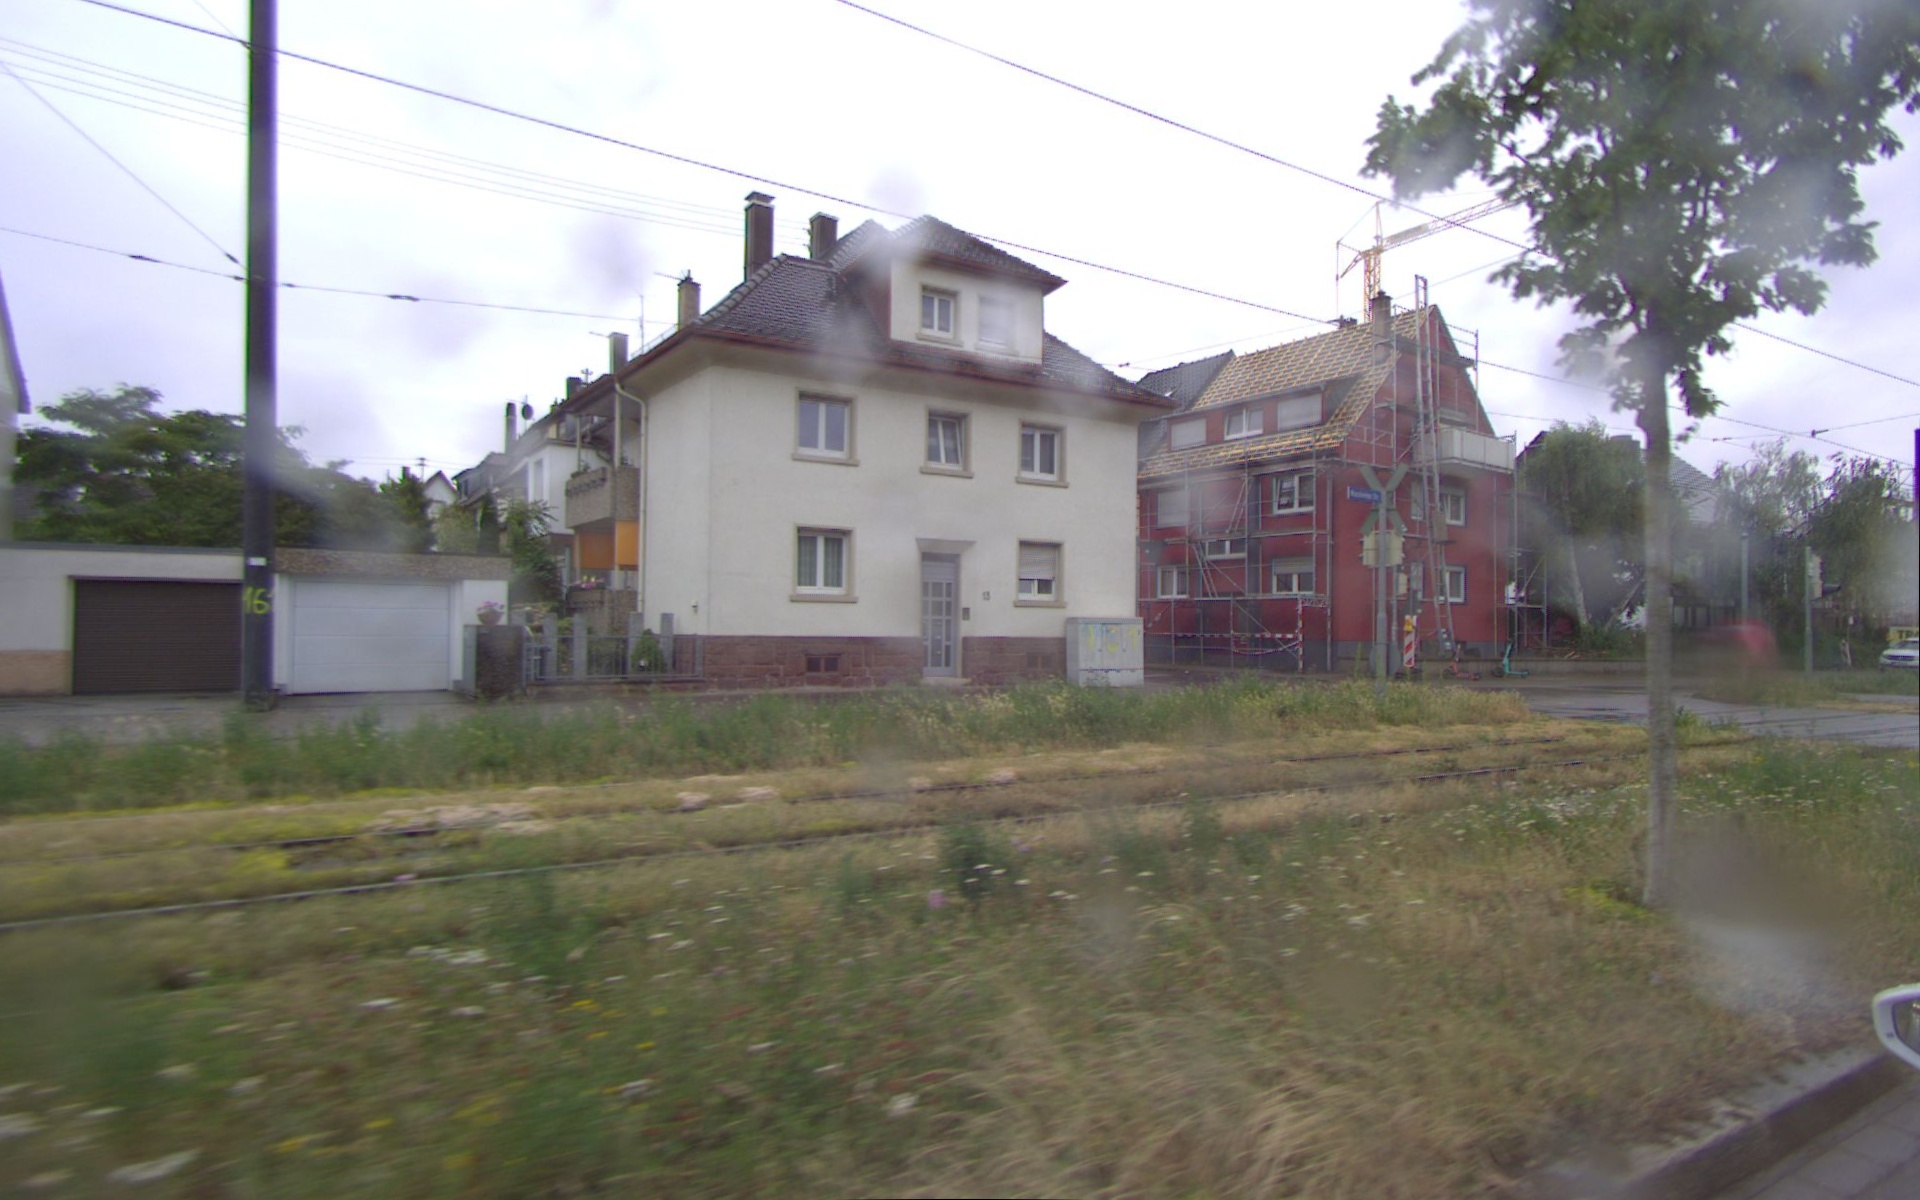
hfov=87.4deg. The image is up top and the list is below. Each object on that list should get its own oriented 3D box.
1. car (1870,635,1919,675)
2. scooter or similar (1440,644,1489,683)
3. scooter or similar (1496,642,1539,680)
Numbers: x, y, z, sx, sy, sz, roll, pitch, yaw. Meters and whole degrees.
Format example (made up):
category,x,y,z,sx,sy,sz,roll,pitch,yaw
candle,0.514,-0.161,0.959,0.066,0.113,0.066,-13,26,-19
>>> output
category,x,y,z,sx,sy,sz,roll,pitch,yaw
car,41.058,2.349,42.994,4.366,1.563,1.703,1,1,-28
scooter or similar,15.238,1.906,30.368,1.257,1.144,0.441,1,-1,1
scooter or similar,17.797,1.937,32.077,1.261,1.196,0.394,1,-1,-14
